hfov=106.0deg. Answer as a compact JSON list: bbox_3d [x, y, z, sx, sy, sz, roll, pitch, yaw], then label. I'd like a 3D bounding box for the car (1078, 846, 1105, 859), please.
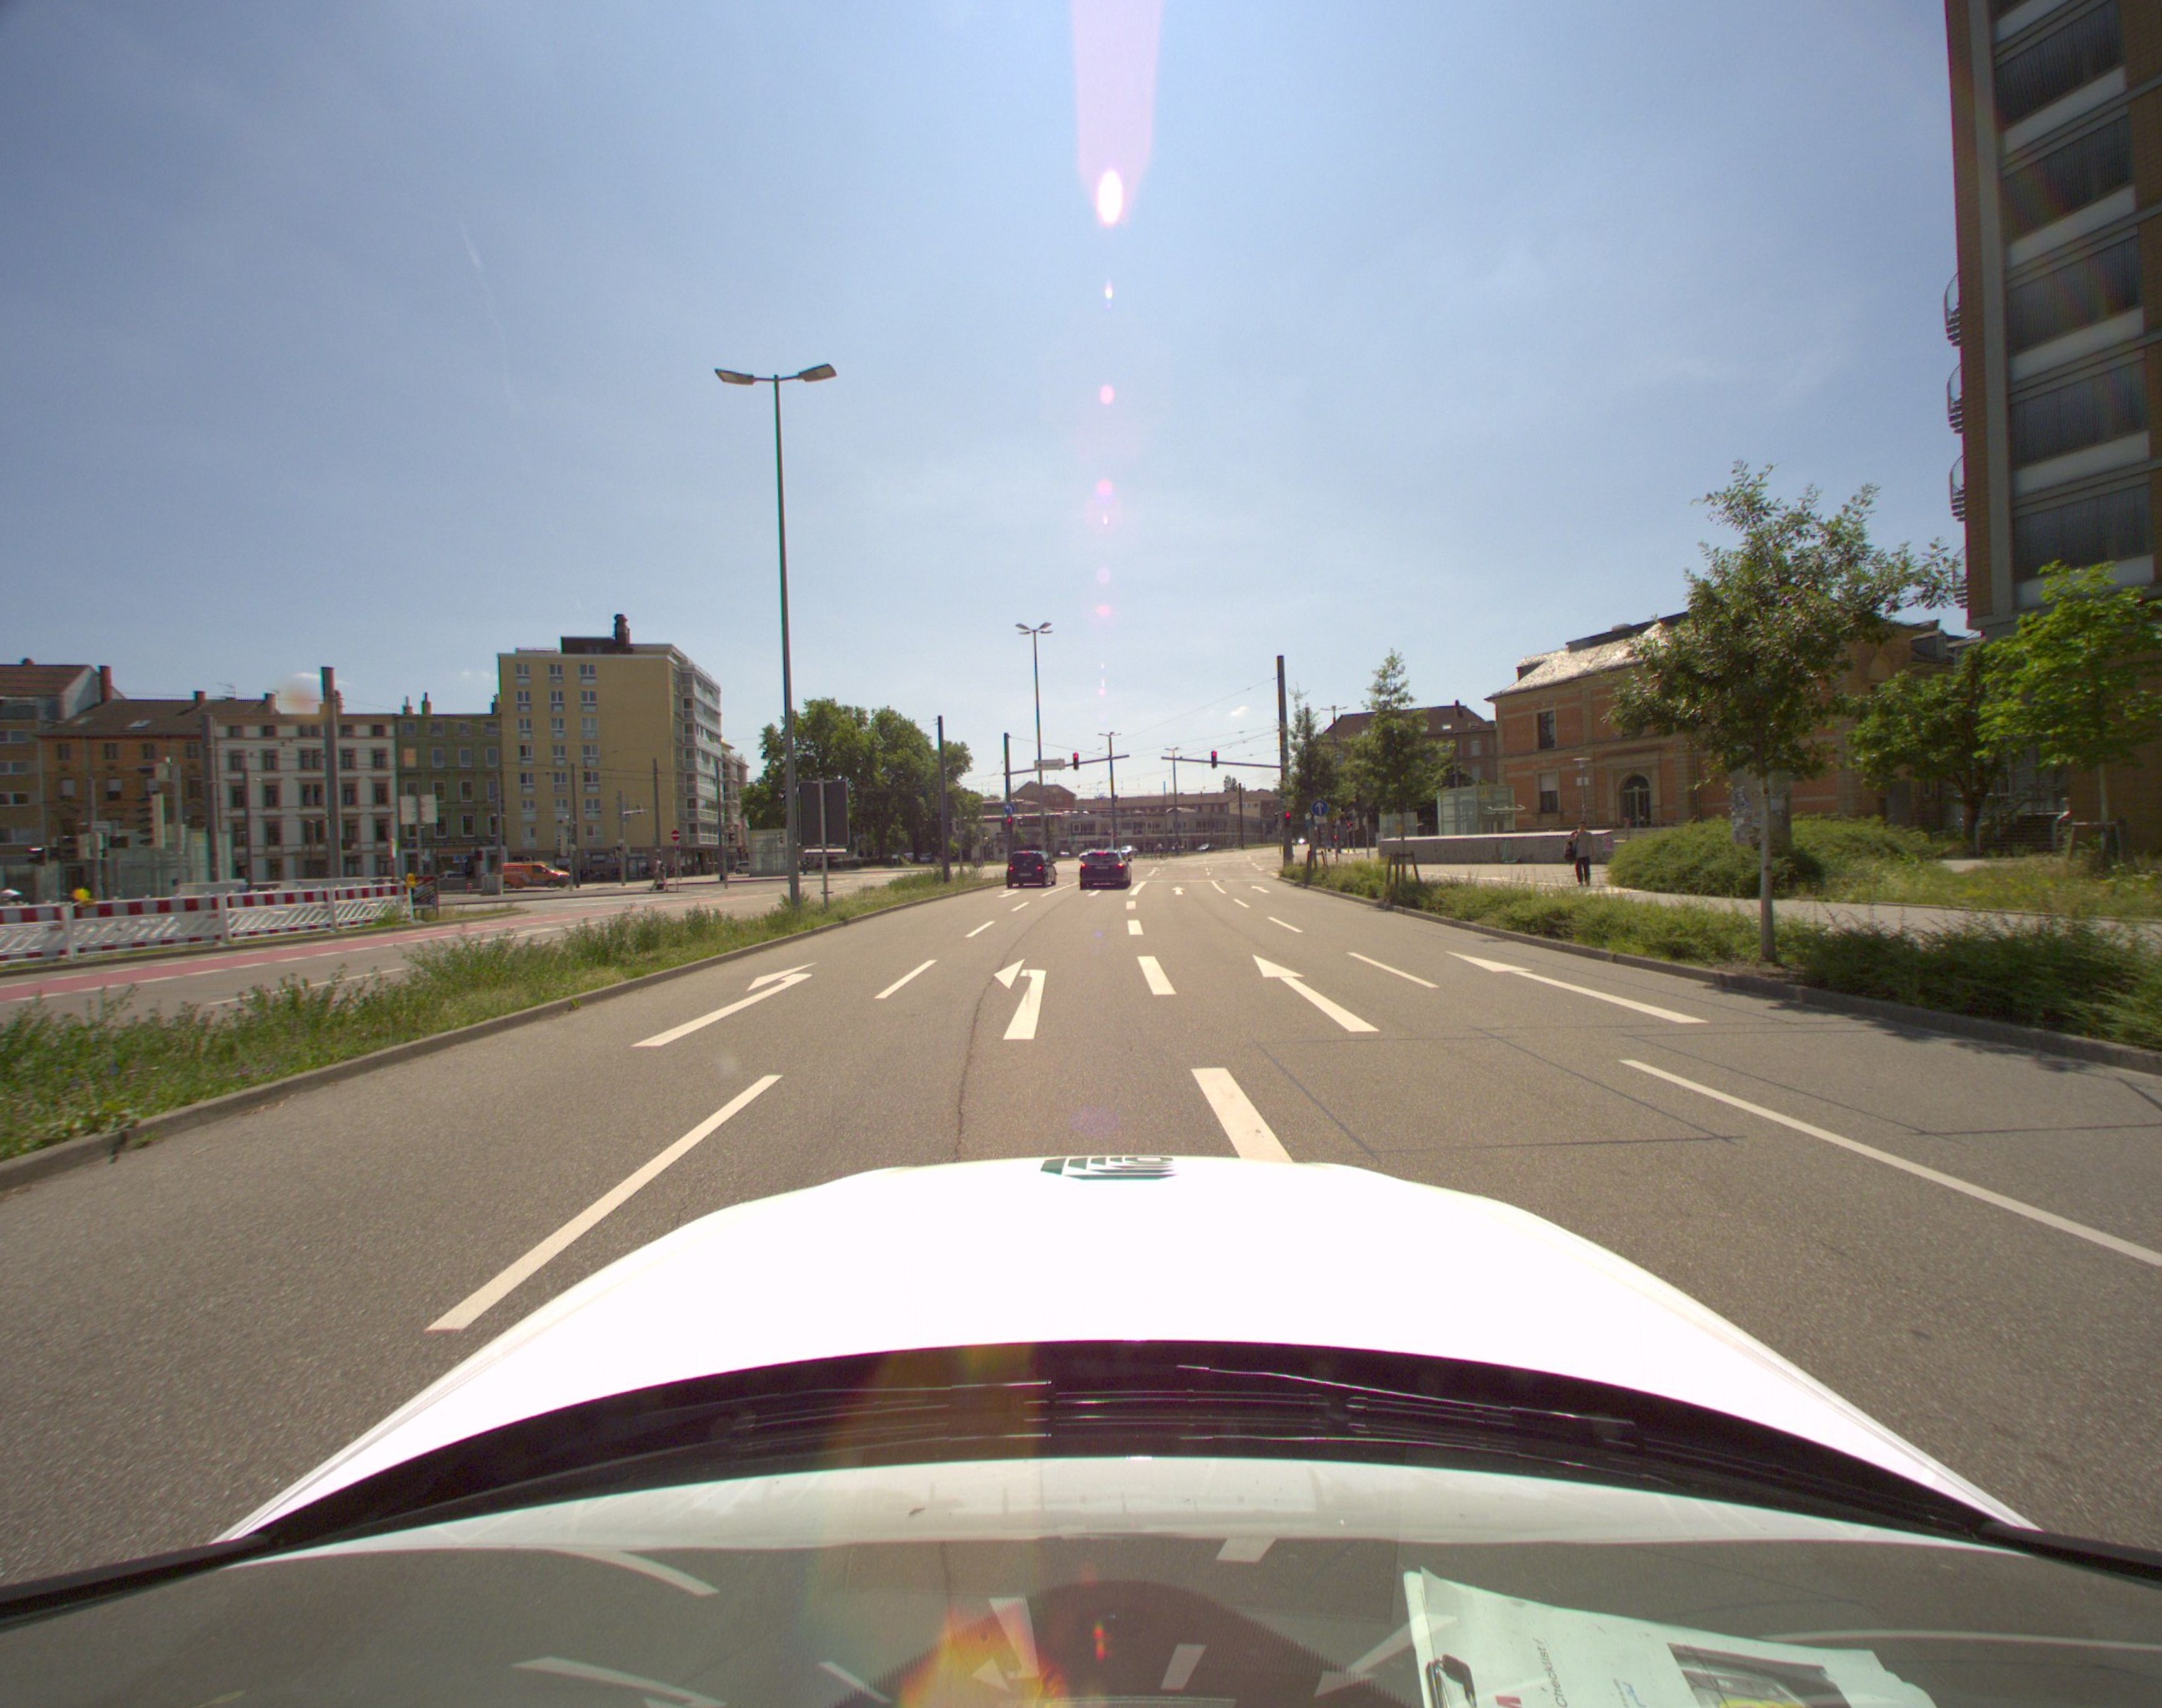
[{"bbox_3d":[1.287,-0.188,97.019,1.605,1.390,4.148,-2,0,23],"label":"car"}]

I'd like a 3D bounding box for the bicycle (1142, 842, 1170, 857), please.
[{"bbox_3d":[7.634,-0.481,83.132,2.812,1.463,0.635,-1,2,4],"label":"bicycle"}]

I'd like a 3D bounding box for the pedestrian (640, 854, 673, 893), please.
[{"bbox_3d":[-22.296,1.013,42.805,1.175,1.932,0.902,-2,2,0],"label":"pedestrian"}]

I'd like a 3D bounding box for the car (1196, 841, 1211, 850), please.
[{"bbox_3d":[20.475,-1.426,136.312,1.557,1.427,3.634,-1,3,22],"label":"car"}]

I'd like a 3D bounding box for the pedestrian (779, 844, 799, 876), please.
[{"bbox_3d":[-27.501,0.580,76.770,1.209,2.937,1.338,-1,2,3],"label":"pedestrian"}]

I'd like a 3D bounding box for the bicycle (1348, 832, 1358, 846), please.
[{"bbox_3d":[36.345,-1.981,108.789,0.609,1.788,3.188,-1,2,7],"label":"bicycle"}]

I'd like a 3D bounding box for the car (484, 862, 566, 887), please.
[{"bbox_3d":[-41.252,1.519,60.505,4.621,1.613,1.671,-2,2,-9],"label":"car"}]

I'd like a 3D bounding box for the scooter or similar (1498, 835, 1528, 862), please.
[{"bbox_3d":[18.825,-0.253,35.513,0.397,1.167,1.283,-2,2,-16],"label":"scooter or similar"}]

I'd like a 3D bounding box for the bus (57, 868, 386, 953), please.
[{"bbox_3d":[-18.873,1.130,18.444,1.240,1.249,5.820,-2,2,0],"label":"bus"}]

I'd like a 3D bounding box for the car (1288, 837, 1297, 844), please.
[{"bbox_3d":[49.613,-3.155,191.323,1.523,1.458,3.559,-1,2,6],"label":"car"}]

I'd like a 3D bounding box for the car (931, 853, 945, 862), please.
[{"bbox_3d":[-23.977,0.592,136.644,1.504,1.418,3.422,-1,2,1],"label":"car"}]

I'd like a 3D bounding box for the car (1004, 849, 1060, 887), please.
[{"bbox_3d":[-1.966,0.532,33.817,1.613,1.463,4.008,-2,0,6],"label":"car"}]

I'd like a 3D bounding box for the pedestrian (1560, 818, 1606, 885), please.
[{"bbox_3d":[13.127,-0.082,21.309,0.728,1.705,0.812,-1,1,8],"label":"pedestrian"}]

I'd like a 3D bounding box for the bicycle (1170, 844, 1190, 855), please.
[{"bbox_3d":[11.094,-0.484,91.097,2.162,1.107,0.455,-2,2,-12],"label":"bicycle"}]

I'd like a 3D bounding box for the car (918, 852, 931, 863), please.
[{"bbox_3d":[-26.324,0.575,137.263,1.420,1.508,3.439,-2,2,1],"label":"car"}]

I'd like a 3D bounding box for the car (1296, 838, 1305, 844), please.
[{"bbox_3d":[57.544,-3.392,213.680,1.577,1.528,3.723,-1,2,7],"label":"car"}]

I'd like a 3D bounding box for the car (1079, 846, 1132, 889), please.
[{"bbox_3d":[1.065,0.479,32.579,1.708,1.556,4.595,-2,0,6],"label":"car"}]

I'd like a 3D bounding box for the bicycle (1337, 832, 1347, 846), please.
[{"bbox_3d":[34.935,-2.028,109.022,0.609,1.788,3.188,-1,2,7],"label":"bicycle"}]

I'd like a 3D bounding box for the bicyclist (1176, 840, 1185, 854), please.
[{"bbox_3d":[11.114,-0.767,91.090,0.732,1.479,0.653,-2,2,-12],"label":"bicyclist"}]

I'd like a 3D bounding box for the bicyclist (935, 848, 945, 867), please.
[{"bbox_3d":[-14.644,0.352,84.657,0.843,1.965,0.626,-2,2,-1],"label":"bicyclist"}]

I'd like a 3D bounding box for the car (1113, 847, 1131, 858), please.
[{"bbox_3d":[5.494,-0.265,108.850,1.420,1.285,3.278,-1,3,19],"label":"car"}]

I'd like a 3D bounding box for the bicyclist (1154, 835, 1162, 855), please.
[{"bbox_3d":[7.887,-0.921,83.089,0.759,1.937,0.661,-1,2,5],"label":"bicyclist"}]

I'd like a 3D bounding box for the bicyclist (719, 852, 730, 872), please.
[{"bbox_3d":[-38.212,0.843,87.258,0.743,2.105,0.767,-3,3,-42],"label":"bicyclist"}]

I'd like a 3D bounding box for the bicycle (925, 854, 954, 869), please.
[{"bbox_3d":[-14.716,0.787,84.674,2.766,1.385,0.670,-2,2,-1],"label":"bicycle"}]

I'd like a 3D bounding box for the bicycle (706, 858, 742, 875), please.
[{"bbox_3d":[-38.250,1.312,87.229,3.341,1.595,0.809,-4,3,-40],"label":"bicycle"}]
